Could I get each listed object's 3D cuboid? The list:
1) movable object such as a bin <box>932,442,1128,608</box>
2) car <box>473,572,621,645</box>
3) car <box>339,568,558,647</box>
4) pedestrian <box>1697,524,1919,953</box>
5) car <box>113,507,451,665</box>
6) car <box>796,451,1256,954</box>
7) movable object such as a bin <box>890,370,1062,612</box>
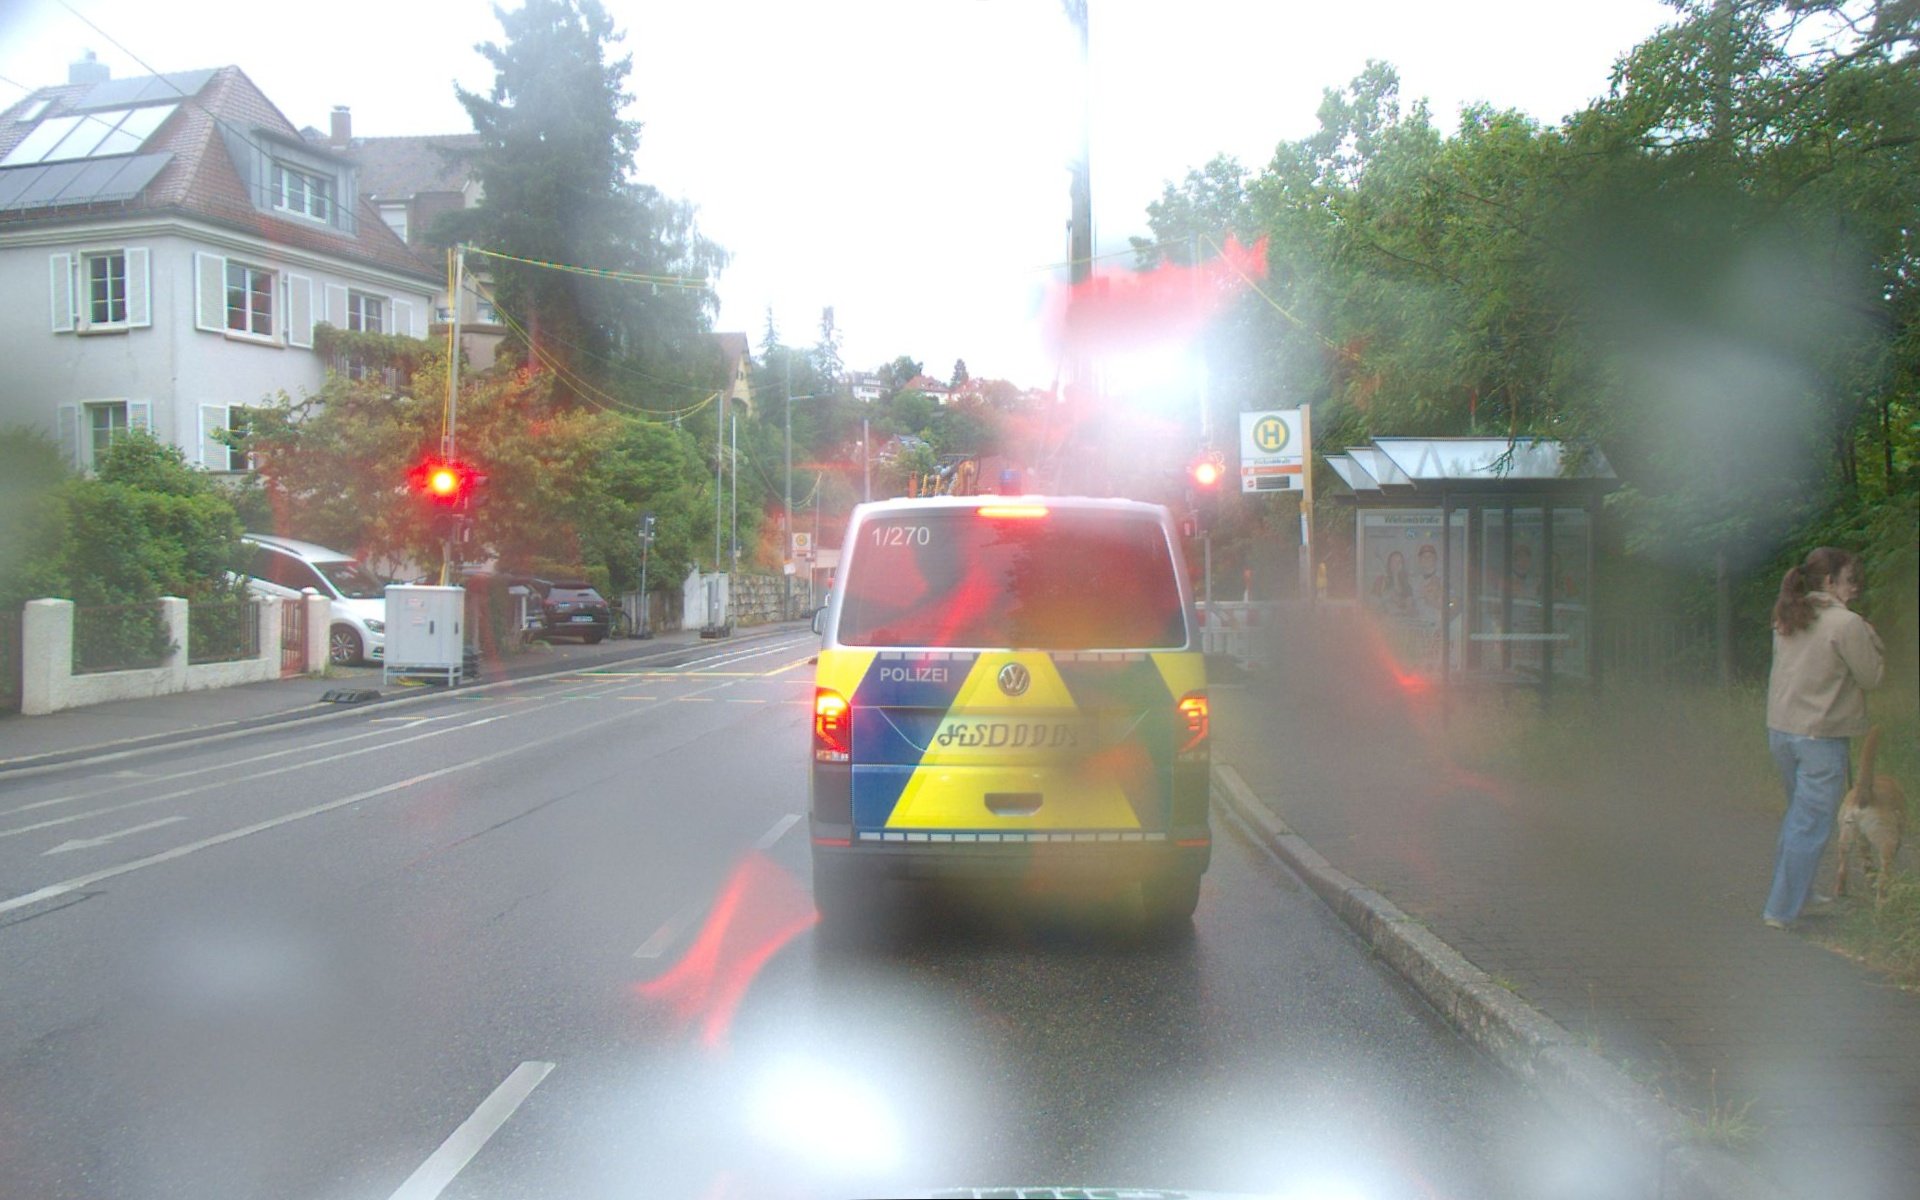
[{"bbox_3d":[2.489,-2.372,55.907,3.615,5.155,7.147,-1,-1,31],"label":"movable object such as a bin"},{"bbox_3d":[-9.459,0.173,37.704,1.769,1.552,3.943,1,0,-39],"label":"car"},{"bbox_3d":[-10.687,0.152,34.662,3.902,1.552,1.942,1,0,12],"label":"car"},{"bbox_3d":[3.582,0.530,6.821,0.745,1.632,0.722,1,-1,-39],"label":"pedestrian"},{"bbox_3d":[-11.195,-0.275,27.380,4.865,1.642,1.865,11,4,13],"label":"car"},{"bbox_3d":[0.245,0.433,9.043,1.869,2.046,4.438,1,0,-1],"label":"car"},{"bbox_3d":[0.420,-1.978,31.681,2.817,4.243,4.491,-1,1,6],"label":"movable object such as a bin"}]
